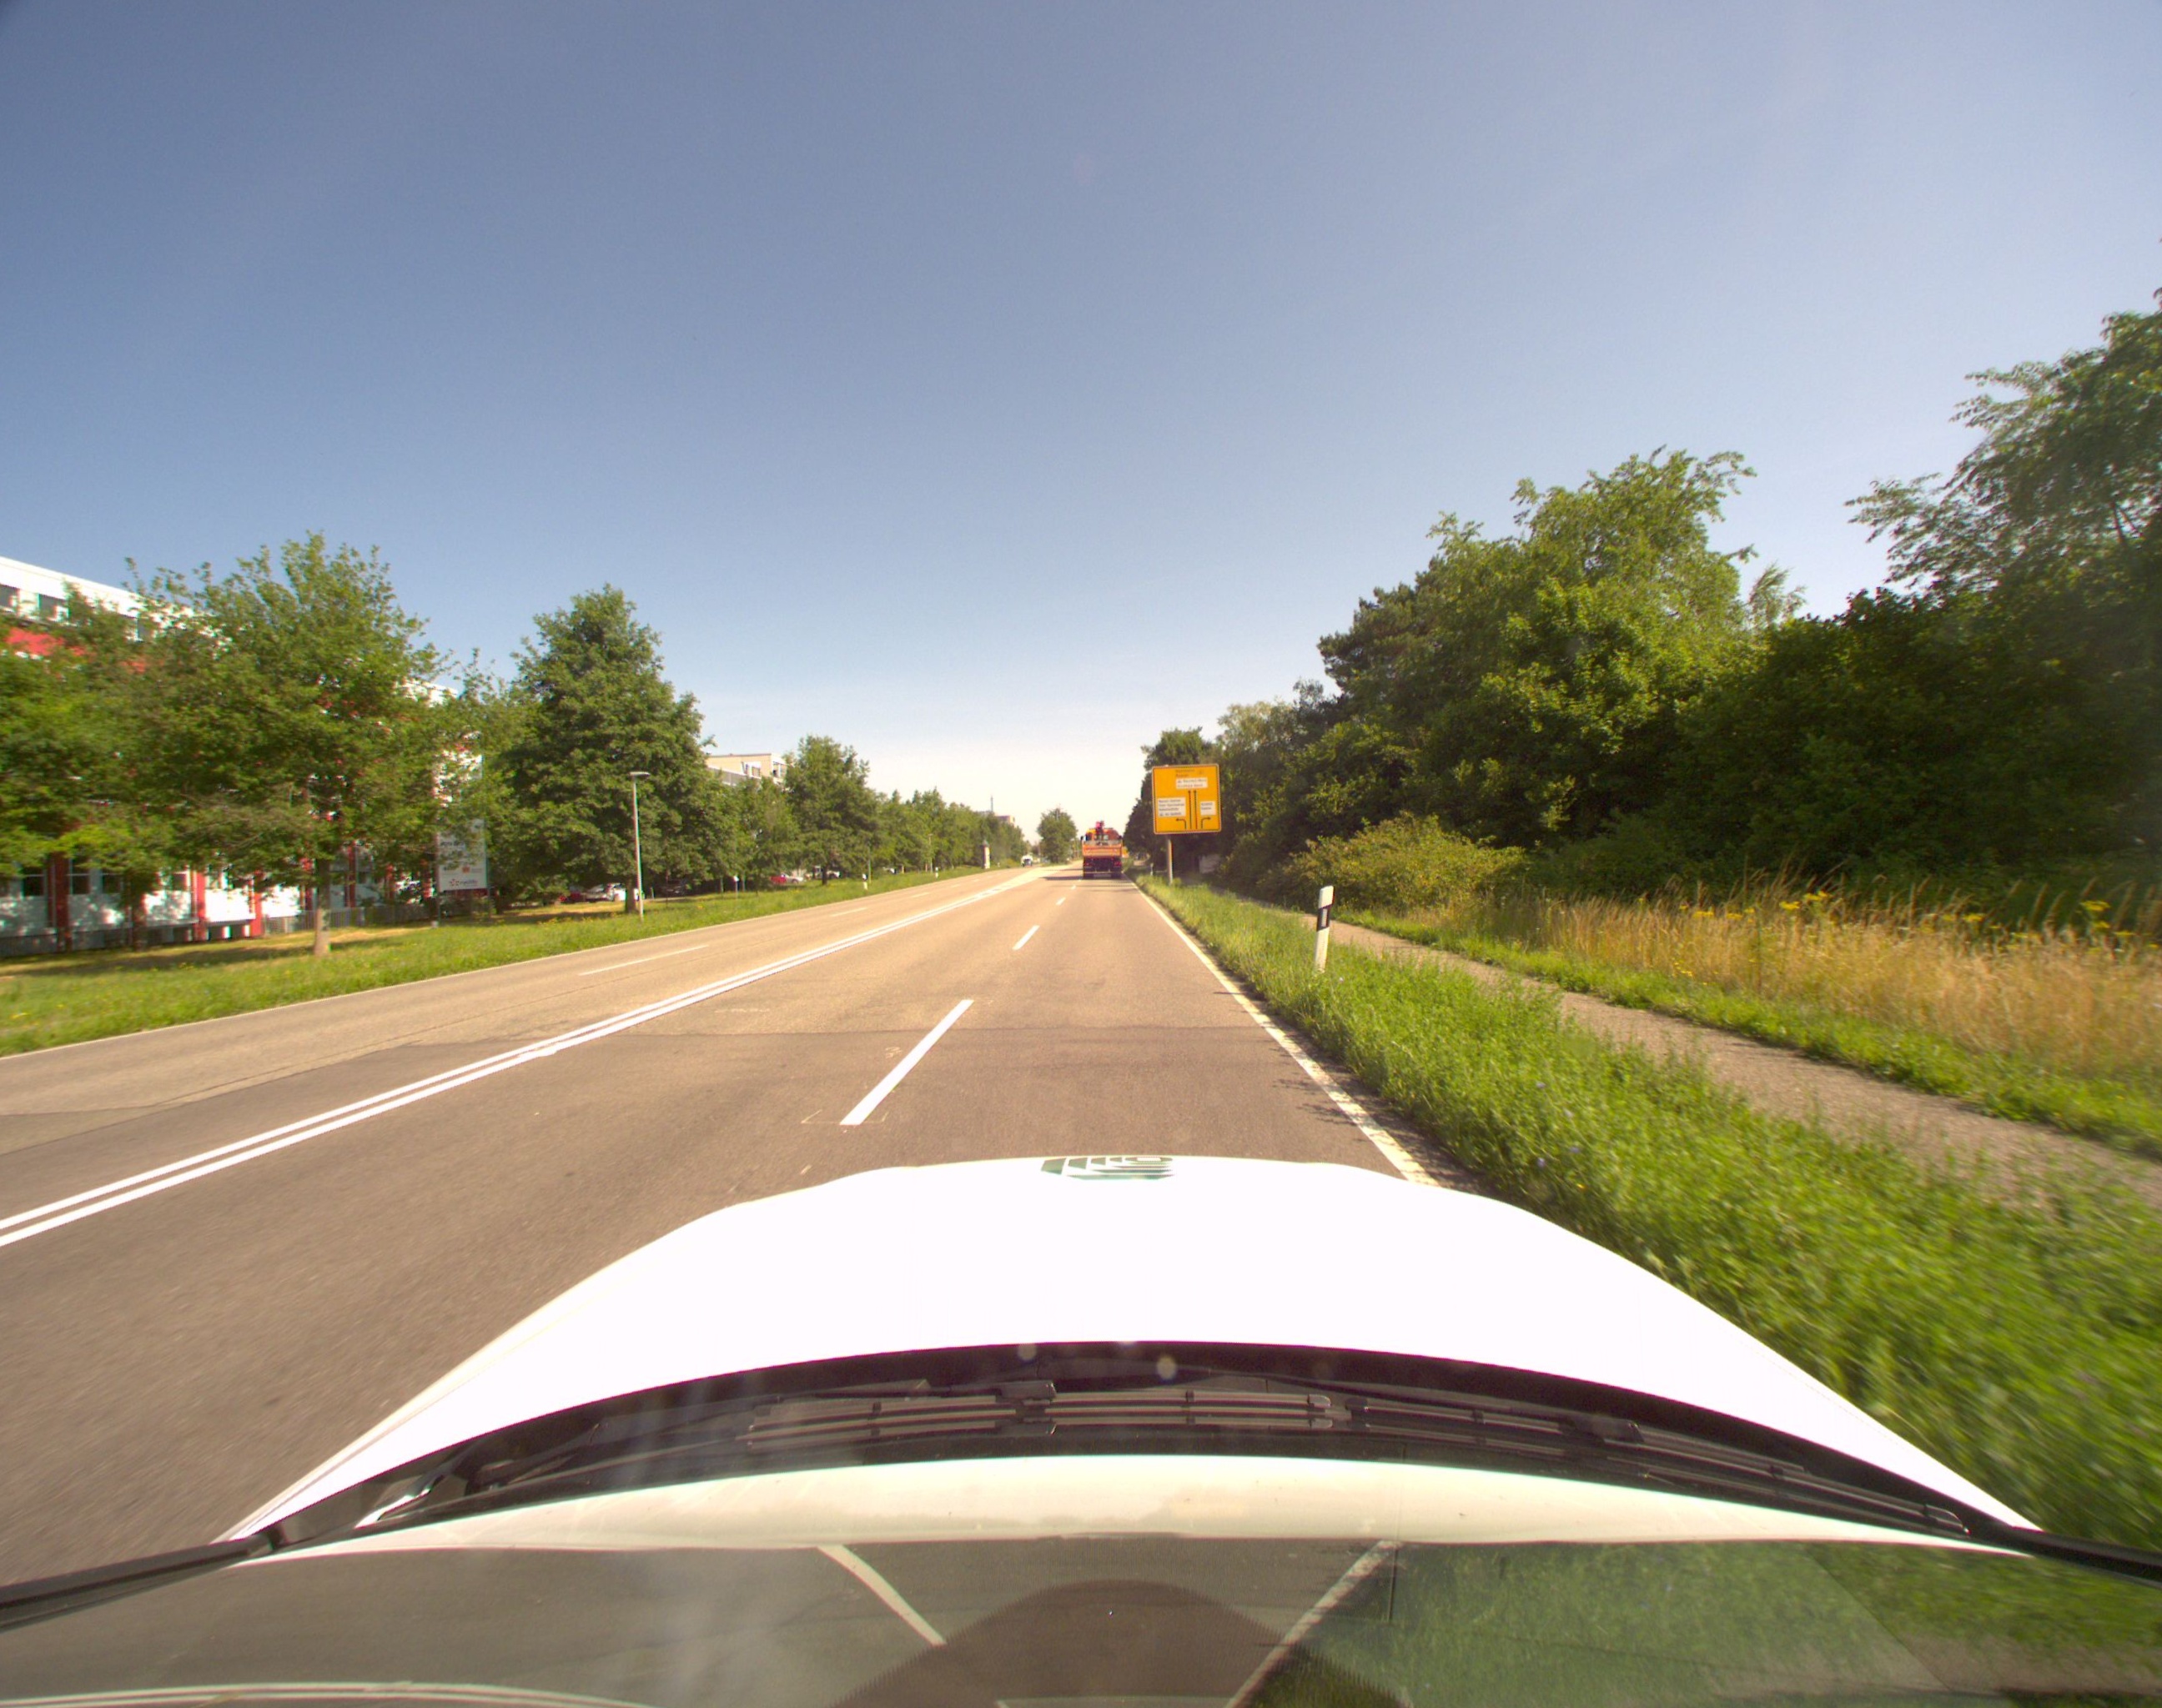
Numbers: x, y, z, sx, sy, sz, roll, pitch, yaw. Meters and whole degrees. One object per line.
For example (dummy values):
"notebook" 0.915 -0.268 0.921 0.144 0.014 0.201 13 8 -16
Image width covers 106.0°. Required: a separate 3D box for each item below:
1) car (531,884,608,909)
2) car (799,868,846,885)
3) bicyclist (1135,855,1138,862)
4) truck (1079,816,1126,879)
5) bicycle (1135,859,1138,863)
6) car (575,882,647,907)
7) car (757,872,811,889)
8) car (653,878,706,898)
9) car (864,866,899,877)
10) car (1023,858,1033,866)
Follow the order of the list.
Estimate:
"car" -35.813 2.937 57.172 1.985 1.437 4.959 -2 0 3
"car" -29.740 2.582 93.785 4.578 1.650 2.000 -2 0 1
"bicyclist" 11.698 0.903 171.232 0.556 1.558 0.558 -3 0 1
"truck" 1.349 -0.407 54.408 2.863 3.880 7.397 0 0 0
"bicycle" 11.722 1.388 171.224 0.556 0.816 1.964 -3 0 1
"car" -33.202 2.812 57.722 1.985 1.437 4.959 -2 0 3
"car" -29.826 2.640 81.781 4.578 1.437 2.000 -2 0 1
"car" -33.285 2.805 67.692 1.986 1.437 4.611 -2 0 1
"car" -29.547 2.624 120.824 4.578 1.437 2.000 -2 0 1
"car" -11.160 1.594 171.803 1.794 1.572 4.001 -3 0 1
